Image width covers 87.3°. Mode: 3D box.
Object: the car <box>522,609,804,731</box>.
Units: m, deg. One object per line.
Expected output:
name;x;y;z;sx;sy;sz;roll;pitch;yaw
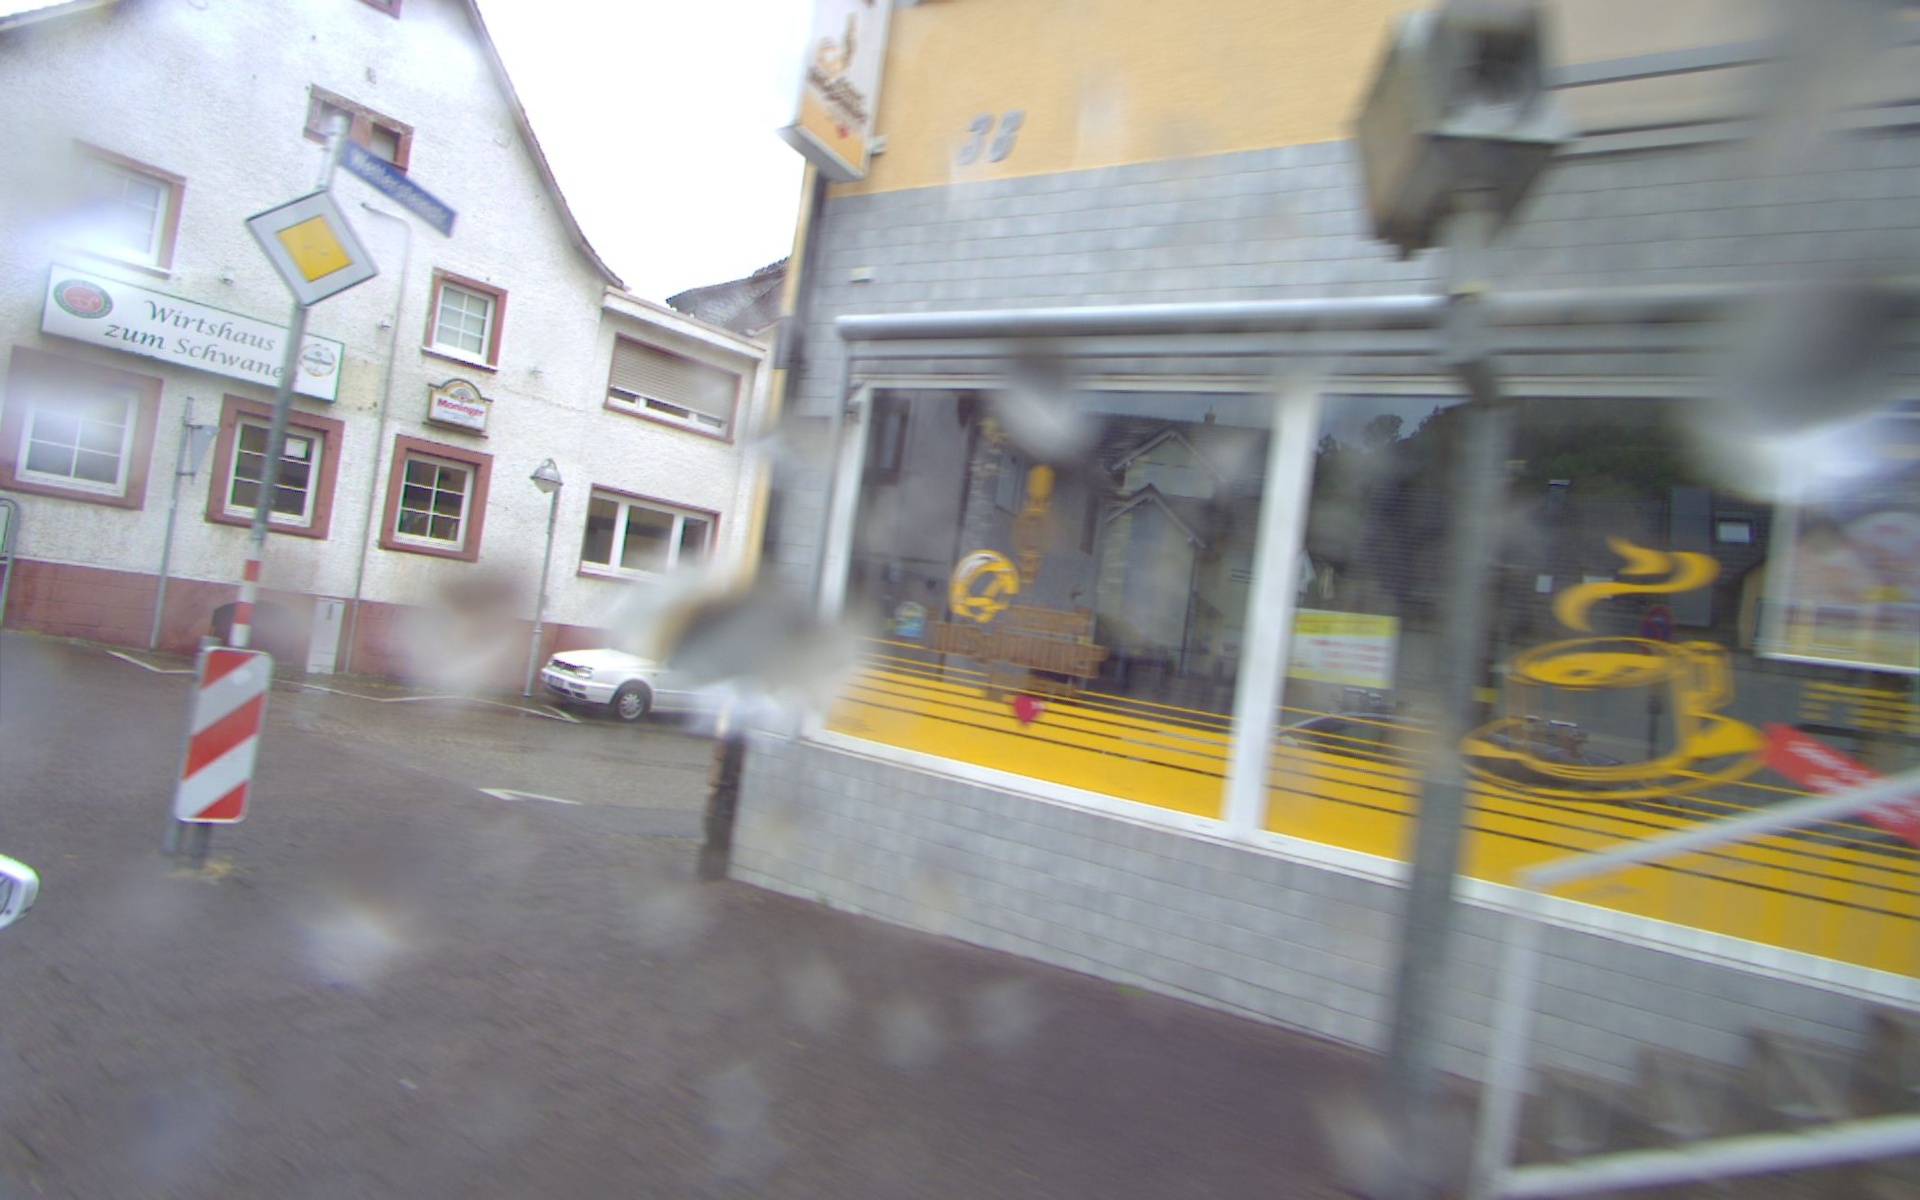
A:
car;-4.608;1.174;16.082;1.639;1.388;3.950;7;-3;41
